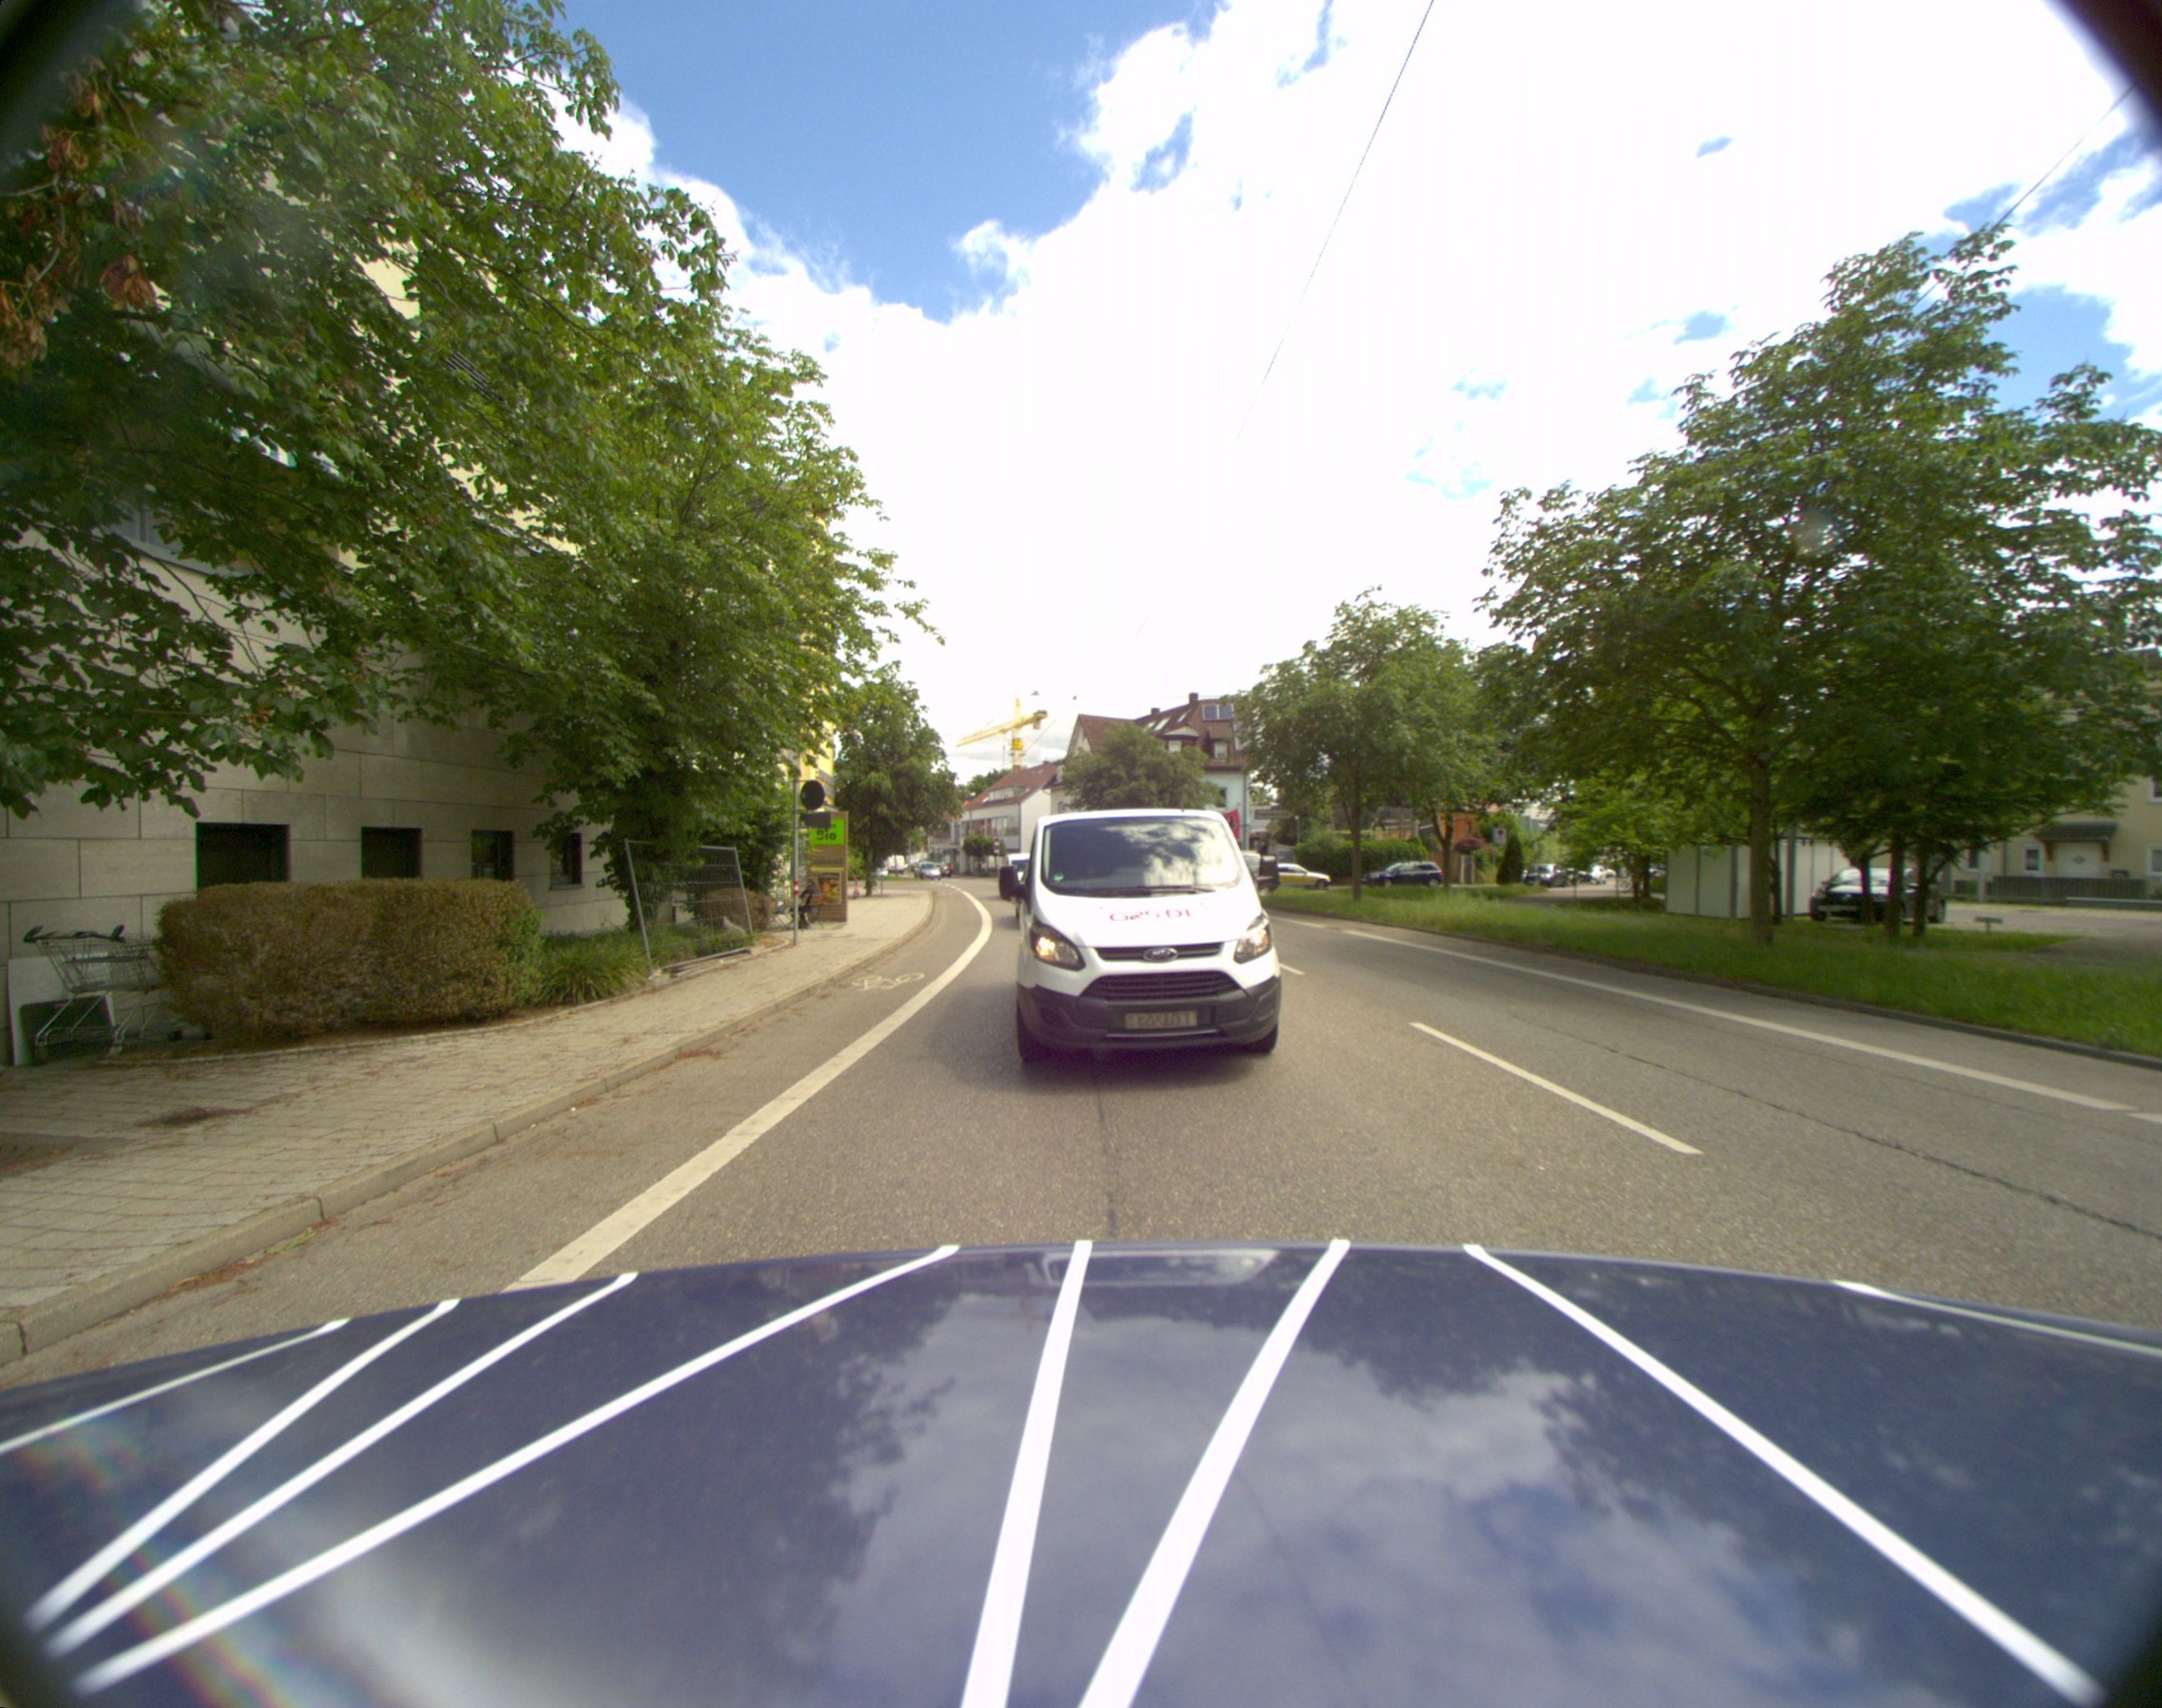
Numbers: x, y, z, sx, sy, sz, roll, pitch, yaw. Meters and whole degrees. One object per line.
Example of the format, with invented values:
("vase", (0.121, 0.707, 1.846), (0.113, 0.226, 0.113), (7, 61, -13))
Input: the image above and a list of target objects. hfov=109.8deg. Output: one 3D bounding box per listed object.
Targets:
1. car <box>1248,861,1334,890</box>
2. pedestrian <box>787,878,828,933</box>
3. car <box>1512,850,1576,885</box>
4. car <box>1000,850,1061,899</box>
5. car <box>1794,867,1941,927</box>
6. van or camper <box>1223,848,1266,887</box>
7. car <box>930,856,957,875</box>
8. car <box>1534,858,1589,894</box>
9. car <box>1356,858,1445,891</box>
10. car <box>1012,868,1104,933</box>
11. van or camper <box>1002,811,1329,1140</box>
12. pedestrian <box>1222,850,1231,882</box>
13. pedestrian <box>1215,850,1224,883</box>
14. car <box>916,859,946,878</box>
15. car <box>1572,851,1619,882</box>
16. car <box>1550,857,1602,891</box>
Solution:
("car", (10.995, 1.108, 39.861), (4.047, 1.314, 1.534), (-3, 1, -13))
("pedestrian", (-6.738, 1.261, 18.763), (0.731, 1.293, 0.754), (0, 0, 0))
("car", (27.392, 0.779, 44.922), (4.008, 2.002, 1.976), (0, 0, -39))
("car", (-2.162, 0.794, 31.261), (1.854, 1.805, 3.995), (-3, 1, -12))
("car", (20.903, 1.075, 20.181), (4.006, 1.411, 1.789), (0, 0, -30))
("van or camper", (9.425, 0.737, 44.020), (1.793, 2.077, 3.811), (-2, 1, 3))
("car", (-13.862, 1.119, 76.471), (1.744, 1.840, 3.991), (0, 0, -25))
("car", (30.290, 1.362, 47.864), (4.007, 2.002, 1.994), (-3, 1, -45))
("car", (16.762, 1.042, 39.969), (3.976, 1.672, 1.717), (0, 1, -3))
("car", (-0.701, 1.082, 19.200), (1.841, 1.382, 3.997), (0, 0, -9))
("van or camper", (0.383, 0.739, 7.224), (2.028, 2.002, 5.101), (0, 0, -3))
("pedestrian", (8.843, 0.726, 46.234), (0.383, 1.979, 0.443), (-2, 1, 1))
("pedestrian", (8.406, 0.773, 46.234), (0.425, 2.002, 0.363), (-2, 1, 1))
("car", (-12.842, 1.181, 64.841), (1.696, 1.477, 3.992), (-3, 1, -22))
("car", (36.744, 0.868, 54.230), (4.007, 2.002, 1.893), (-3, 1, -42))
("car", (33.191, 1.287, 50.901), (4.007, 2.002, 1.994), (-3, 1, -43))
